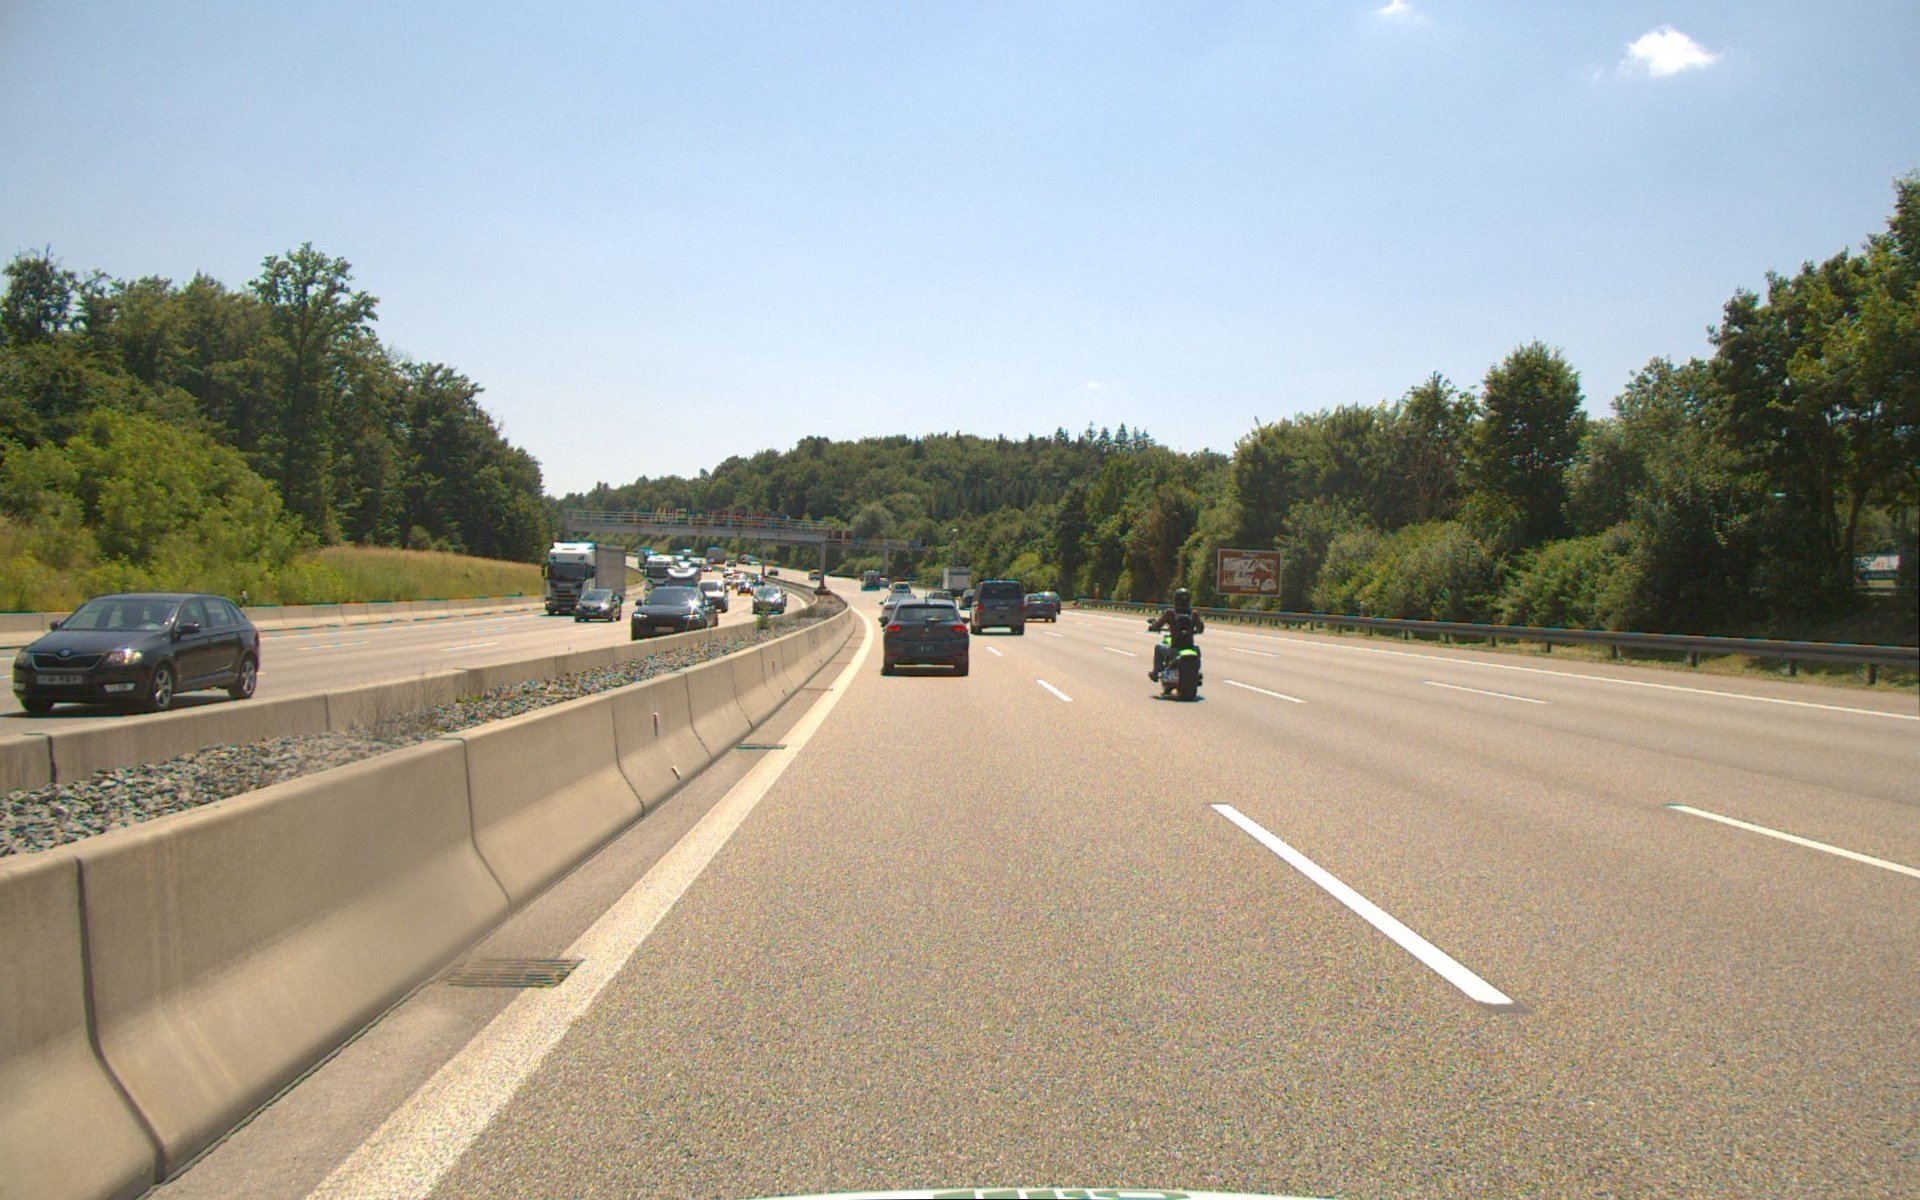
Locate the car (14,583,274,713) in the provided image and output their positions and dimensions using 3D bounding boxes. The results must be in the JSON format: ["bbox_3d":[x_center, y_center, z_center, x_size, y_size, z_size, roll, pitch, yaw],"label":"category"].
[{"bbox_3d":[-10.548,0.578,21.711,1.560,1.532,3.998,1,0,-3],"label":"car"}]

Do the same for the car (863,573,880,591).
[{"bbox_3d":[-11.873,-2.477,222.993,2.219,2.412,4.700,0,1,-2],"label":"car"}]

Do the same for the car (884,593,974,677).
[{"bbox_3d":[-0.639,0.657,33.228,1.673,1.458,3.999,1,2,-2],"label":"car"}]

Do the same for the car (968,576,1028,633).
[{"bbox_3d":[1.412,0.195,63.437,1.924,2.069,5.080,1,-1,-3],"label":"car"}]

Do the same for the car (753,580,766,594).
[{"bbox_3d":[-30.042,-1.990,247.916,1.955,2.049,3.995,1,0,-6],"label":"car"}]

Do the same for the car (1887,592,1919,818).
[{"bbox_3d":[7.466,0.728,9.483,1.714,1.545,4.483,1,0,-1],"label":"car"}]

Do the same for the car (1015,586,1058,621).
[{"bbox_3d":[3.951,0.154,85.623,1.813,1.758,3.997,0,0,-4],"label":"car"}]

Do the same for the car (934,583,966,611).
[{"bbox_3d":[-0.690,-0.197,107.489,1.906,1.742,3.998,1,0,-3],"label":"car"}]

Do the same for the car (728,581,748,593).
[{"bbox_3d":[-24.411,-1.395,182.002,1.954,1.243,3.997,1,0,-4],"label":"car"}]

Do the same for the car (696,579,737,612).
[{"bbox_3d":[-15.283,-0.286,104.185,1.962,2.049,5.183,0,0,-2],"label":"car"}]

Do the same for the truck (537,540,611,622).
[{"bbox_3d":[-21.966,-1.020,94.392,2.982,4.448,6.450,1,0,-4],"label":"truck"}]

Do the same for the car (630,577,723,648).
[{"bbox_3d":[-7.806,0.330,46.003,1.790,1.861,4.983,0,0,-1],"label":"car"}]

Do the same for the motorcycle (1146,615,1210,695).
[{"bbox_3d":[3.371,0.819,25.721,0.525,1.155,2.435,0,0,-4],"label":"motorcycle"}]

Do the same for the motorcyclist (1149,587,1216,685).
[{"bbox_3d":[3.407,0.542,25.402,0.836,1.452,1.022,0,1,-4],"label":"motorcyclist"}]

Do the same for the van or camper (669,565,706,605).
[{"bbox_3d":[-20.889,-1.140,127.115,2.510,2.982,7.338,0,0,-7],"label":"van or camper"}]

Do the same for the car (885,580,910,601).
[{"bbox_3d":[-5.886,-0.929,155.135,2.062,1.774,4.683,1,2,-6],"label":"car"}]

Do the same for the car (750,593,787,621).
[{"bbox_3d":[-11.739,0.400,101.525,1.835,1.662,5.162,0,0,-2],"label":"car"}]

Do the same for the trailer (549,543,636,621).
[{"bbox_3d":[-22.469,-1.011,101.975,2.971,4.437,14.265,1,0,-4],"label":"trailer"}]

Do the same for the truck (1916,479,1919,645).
[{"bbox_3d":[32.956,-1.238,45.688,3.448,5.413,16.384,1,0,0],"label":"truck"}]

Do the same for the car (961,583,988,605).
[{"bbox_3d":[1.052,-0.446,121.074,1.632,1.433,4.901,1,2,-3],"label":"car"}]

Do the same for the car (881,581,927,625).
[{"bbox_3d":[-2.532,0.167,73.955,1.972,1.878,3.997,0,-1,-4],"label":"car"}]

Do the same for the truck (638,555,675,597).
[{"bbox_3d":[-27.651,-2.141,150.856,2.651,3.605,6.613,1,0,-5],"label":"truck"}]

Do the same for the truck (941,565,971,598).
[{"bbox_3d":[-0.439,-2.001,172.704,2.925,3.221,7.573,1,2,-2],"label":"truck"}]

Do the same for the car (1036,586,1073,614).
[{"bbox_3d":[6.163,-0.022,108.445,1.954,1.758,3.997,0,0,-4],"label":"car"}]

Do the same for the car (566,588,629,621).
[{"bbox_3d":[-17.191,0.201,78.638,1.953,1.522,4.797,0,0,-1],"label":"car"}]
